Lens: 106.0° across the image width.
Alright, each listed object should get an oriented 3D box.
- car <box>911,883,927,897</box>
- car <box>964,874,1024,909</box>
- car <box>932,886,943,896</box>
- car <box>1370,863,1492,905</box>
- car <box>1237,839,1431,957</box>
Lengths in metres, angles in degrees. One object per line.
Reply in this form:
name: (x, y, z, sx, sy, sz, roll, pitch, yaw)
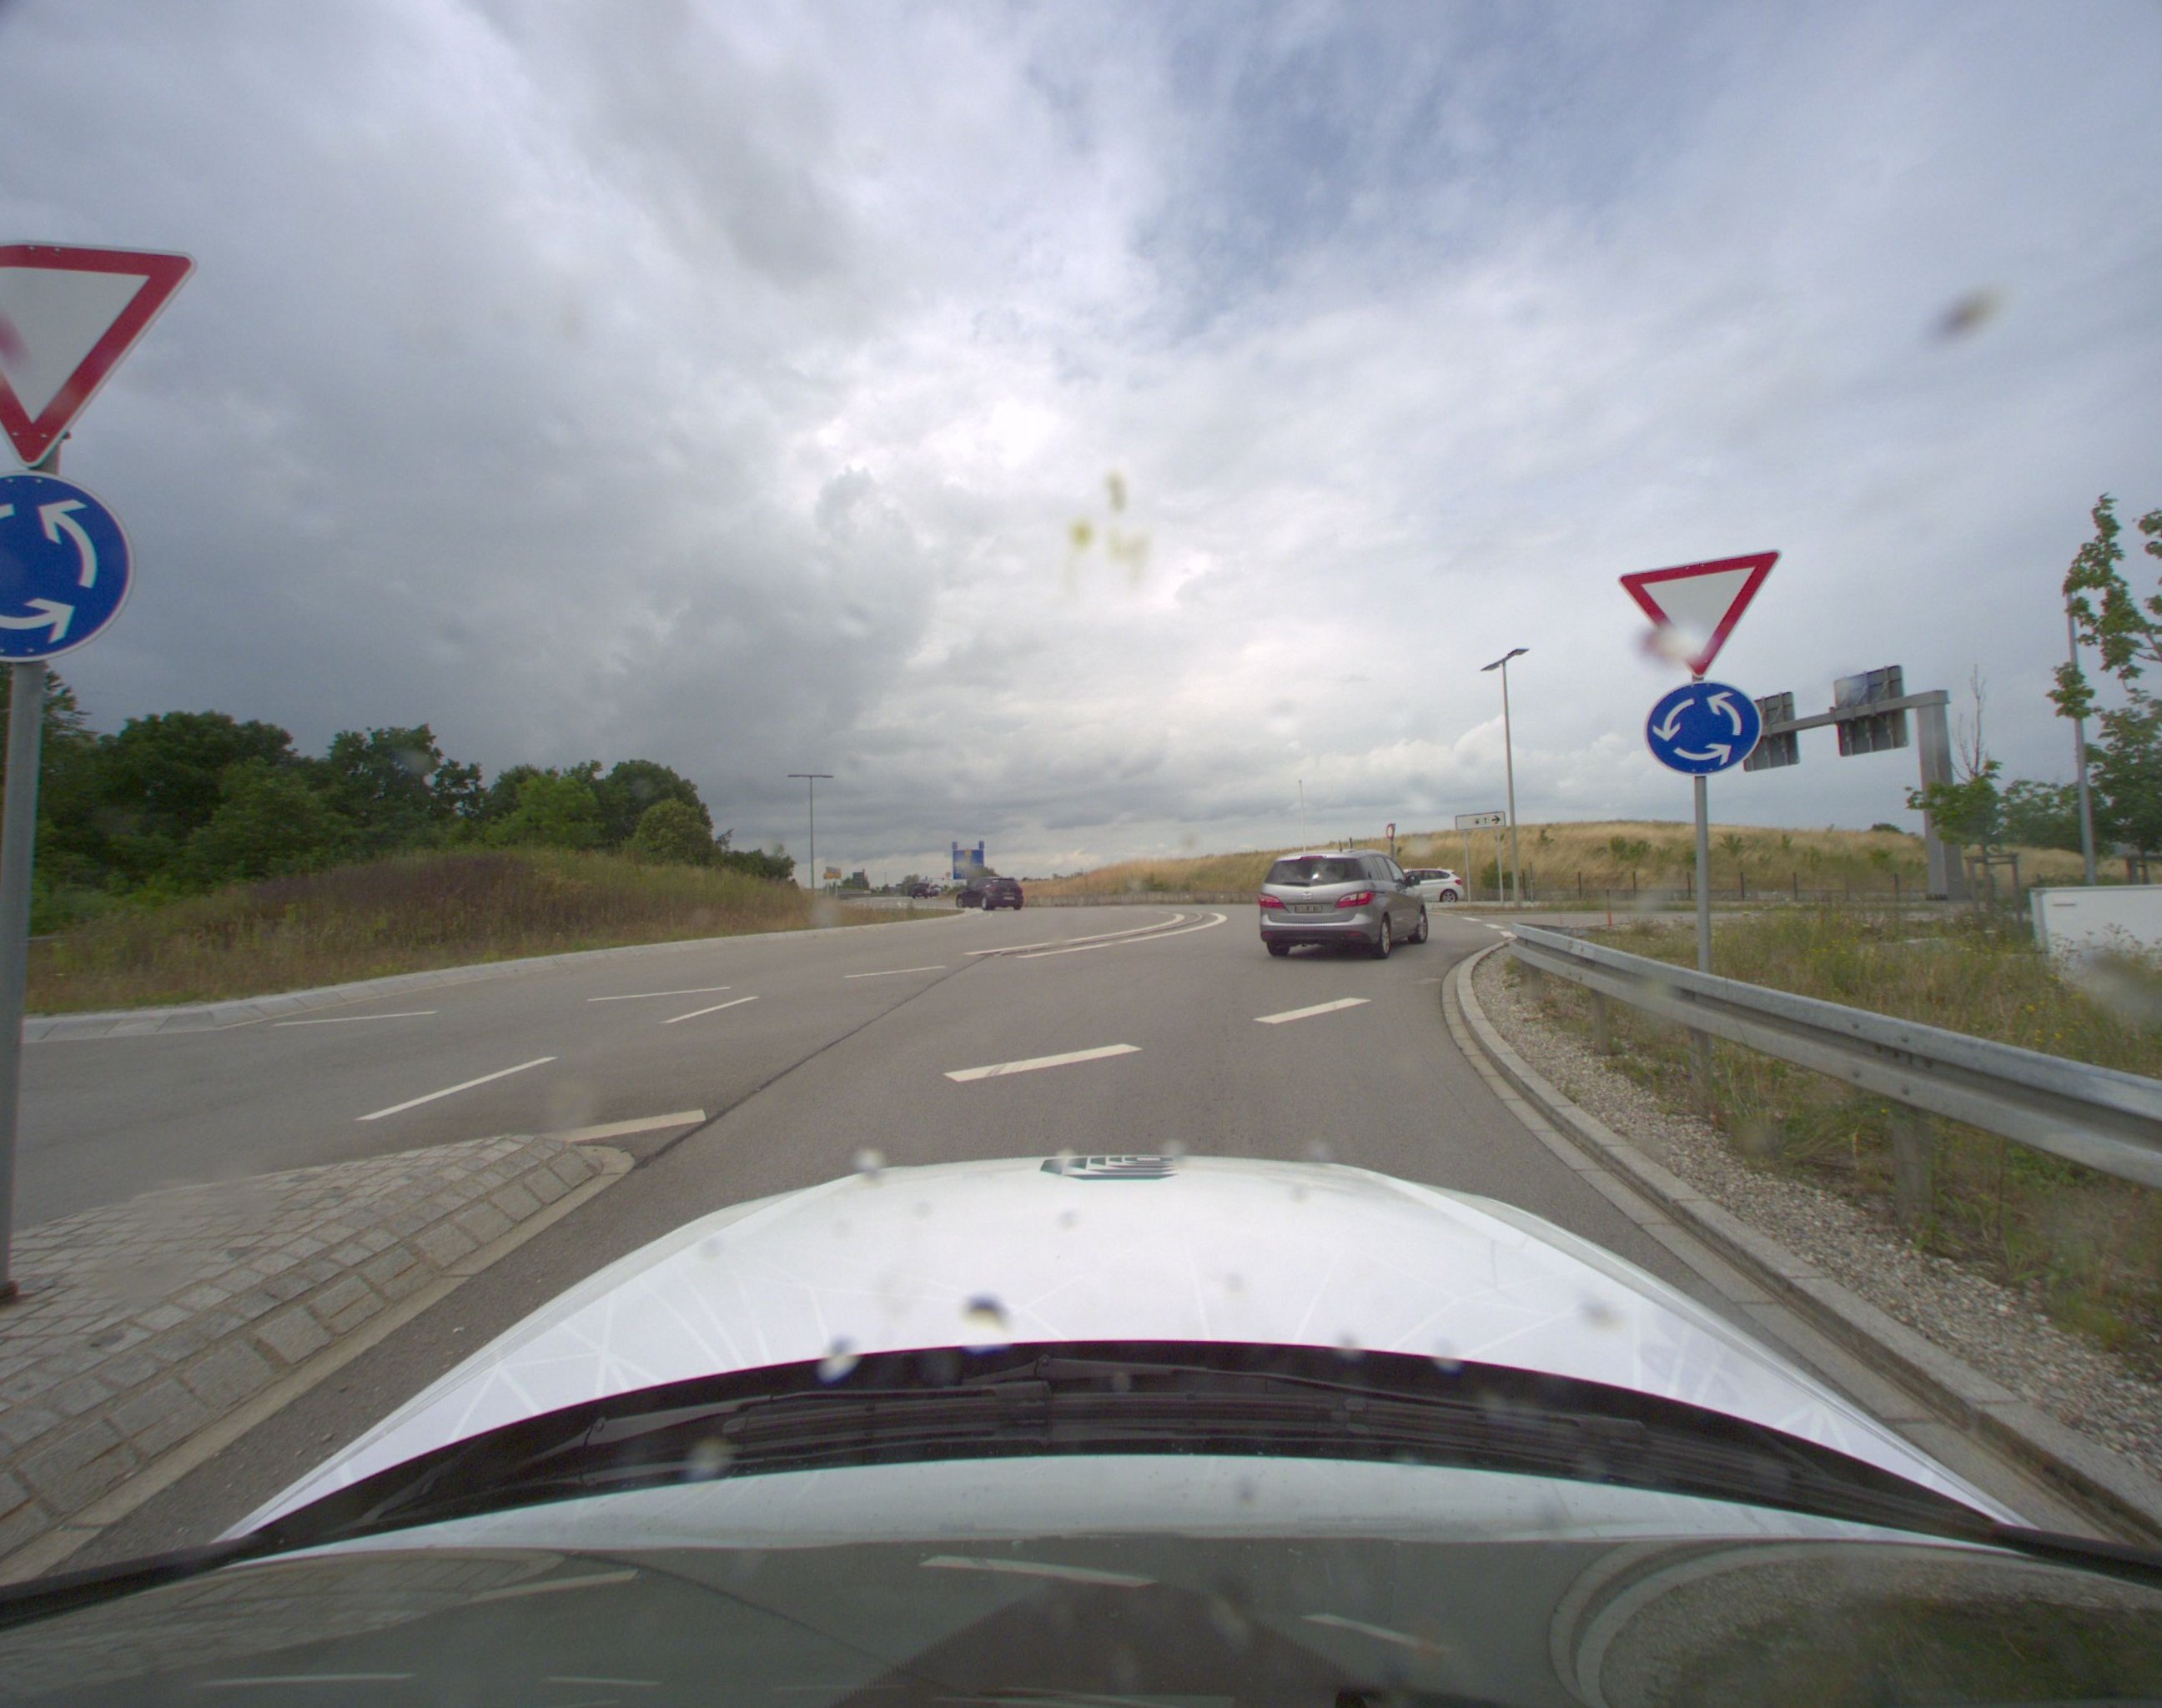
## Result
car: (-20.082, 4.427, 100.718, 1.601, 1.549, 4.025, -2, -1, -15)
car: (-3.870, 1.604, 35.717, 1.667, 1.378, 3.973, -2, -1, -20)
car: (-26.163, 6.737, 148.002, 1.601, 1.549, 4.025, -2, -1, -15)
car: (14.655, 1.237, 34.280, 4.395, 1.629, 1.785, -1, -1, 3)
car: (4.199, 0.672, 13.068, 1.892, 1.574, 4.025, -3, -3, 33)
